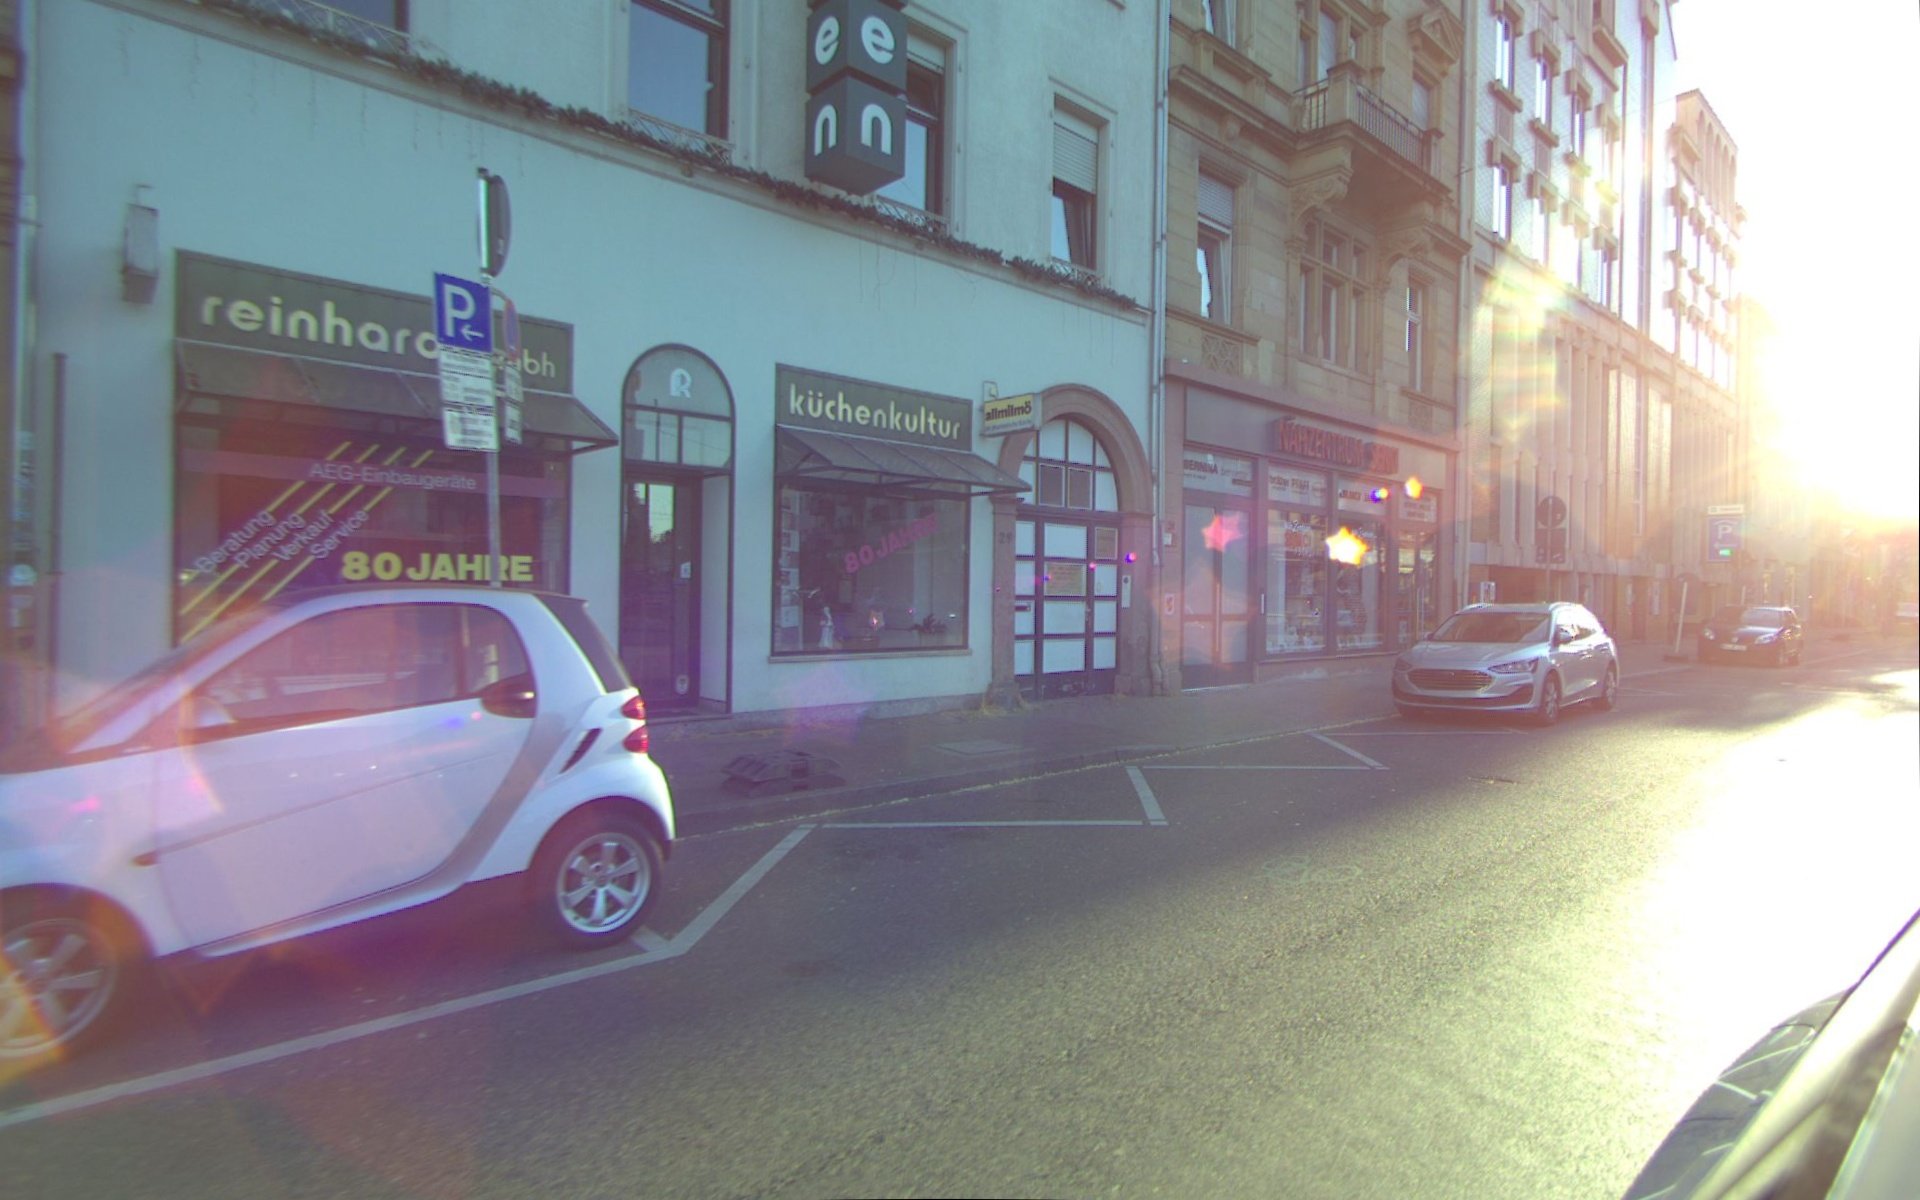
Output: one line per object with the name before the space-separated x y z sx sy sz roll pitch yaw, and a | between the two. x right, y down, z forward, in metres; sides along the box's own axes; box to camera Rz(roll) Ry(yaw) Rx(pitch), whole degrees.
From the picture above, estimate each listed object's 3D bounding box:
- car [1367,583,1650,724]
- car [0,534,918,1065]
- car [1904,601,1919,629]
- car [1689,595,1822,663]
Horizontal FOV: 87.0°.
car | 7.470 0.641 13.559 4.602 1.554 1.996 2 -1 -43
car | -2.270 0.627 4.751 3.930 1.605 1.703 2 0 -42
car | 54.739 0.840 57.057 3.933 1.571 1.996 0 1 -43
car | 20.435 0.703 25.961 3.930 1.539 1.997 1 1 -42
